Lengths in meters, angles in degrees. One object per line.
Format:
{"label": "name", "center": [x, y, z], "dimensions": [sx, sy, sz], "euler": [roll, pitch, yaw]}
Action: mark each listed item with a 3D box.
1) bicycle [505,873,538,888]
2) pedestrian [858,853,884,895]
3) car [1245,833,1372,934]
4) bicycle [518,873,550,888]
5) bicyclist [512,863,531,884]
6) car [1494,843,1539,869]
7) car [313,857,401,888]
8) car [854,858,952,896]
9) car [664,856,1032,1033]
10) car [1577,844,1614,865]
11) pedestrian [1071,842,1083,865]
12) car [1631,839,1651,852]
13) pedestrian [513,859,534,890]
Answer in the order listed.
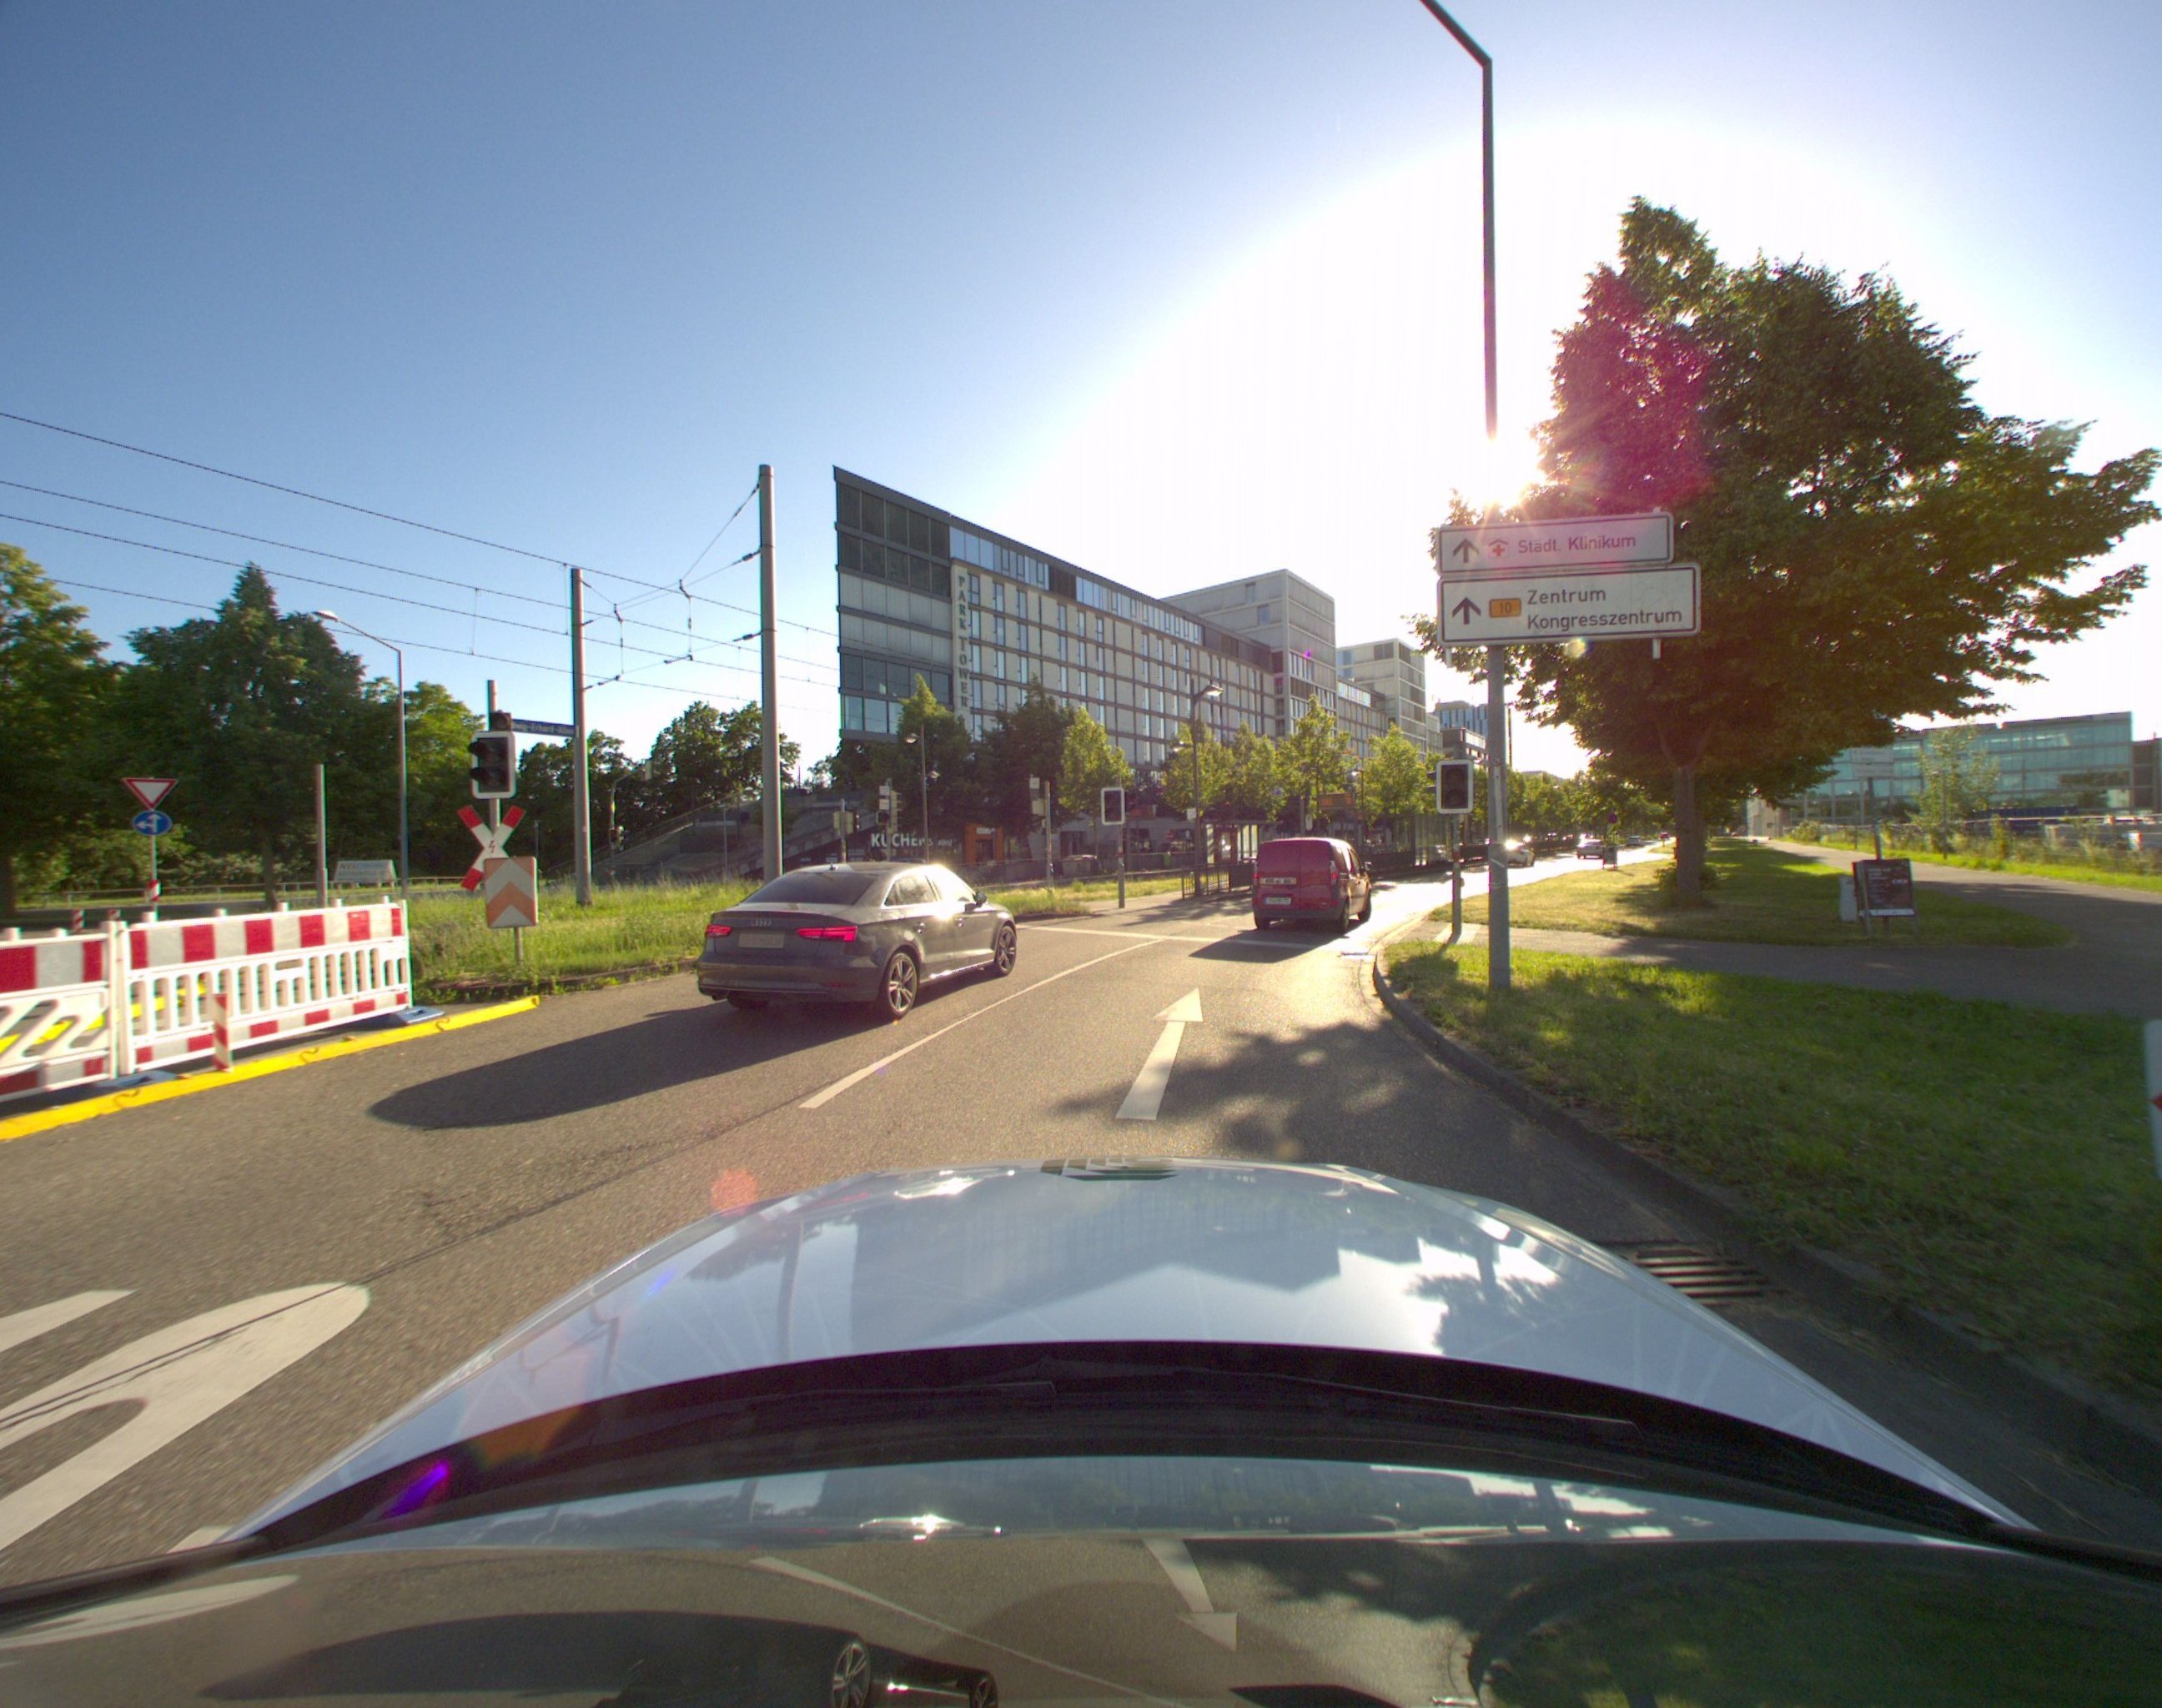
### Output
{"label": "bicycle", "center": [-37.019, 1.740, 53.929], "dimensions": [0.611, 0.852, 1.895], "euler": [-2, 0, 11]}
{"label": "pedestrian", "center": [-7.475, 0.690, 28.953], "dimensions": [0.549, 1.466, 0.681], "euler": [0, 0, 36]}
{"label": "car", "center": [4.792, 0.547, 16.803], "dimensions": [1.786, 1.813, 3.832], "euler": [-1, -1, 27]}
{"label": "bicycle", "center": [-36.156, 1.748, 53.860], "dimensions": [0.611, 0.852, 1.895], "euler": [-2, 0, 11]}
{"label": "bicyclist", "center": [-37.027, 1.290, 53.904], "dimensions": [0.611, 1.392, 0.840], "euler": [-2, 0, 11]}
{"label": "car", "center": [26.728, 0.086, 49.935], "dimensions": [1.785, 1.461, 3.834], "euler": [1, 2, 39]}
{"label": "car", "center": [-45.806, 1.154, 51.589], "dimensions": [3.728, 1.805, 1.835], "euler": [-2, 0, -7]}
{"label": "car", "center": [-8.104, 1.010, 37.277], "dimensions": [1.915, 1.575, 4.001], "euler": [-1, 0, 41]}
{"label": "car", "center": [-2.085, 0.730, 8.765], "dimensions": [1.747, 1.380, 4.377], "euler": [-1, 0, 16]}
{"label": "car", "center": [40.594, 0.018, 64.202], "dimensions": [1.974, 1.575, 4.436], "euler": [-1, 1, 38]}
{"label": "pedestrian", "center": [-0.361, -0.011, 71.712], "dimensions": [0.632, 2.013, 0.839], "euler": [-1, 0, 40]}
{"label": "car", "center": [75.370, -1.171, 109.539], "dimensions": [1.974, 1.575, 4.436], "euler": [-1, 1, 38]}
{"label": "pedestrian", "center": [-29.950, 1.115, 43.732], "dimensions": [0.766, 1.629, 0.874], "euler": [-2, 0, -45]}
